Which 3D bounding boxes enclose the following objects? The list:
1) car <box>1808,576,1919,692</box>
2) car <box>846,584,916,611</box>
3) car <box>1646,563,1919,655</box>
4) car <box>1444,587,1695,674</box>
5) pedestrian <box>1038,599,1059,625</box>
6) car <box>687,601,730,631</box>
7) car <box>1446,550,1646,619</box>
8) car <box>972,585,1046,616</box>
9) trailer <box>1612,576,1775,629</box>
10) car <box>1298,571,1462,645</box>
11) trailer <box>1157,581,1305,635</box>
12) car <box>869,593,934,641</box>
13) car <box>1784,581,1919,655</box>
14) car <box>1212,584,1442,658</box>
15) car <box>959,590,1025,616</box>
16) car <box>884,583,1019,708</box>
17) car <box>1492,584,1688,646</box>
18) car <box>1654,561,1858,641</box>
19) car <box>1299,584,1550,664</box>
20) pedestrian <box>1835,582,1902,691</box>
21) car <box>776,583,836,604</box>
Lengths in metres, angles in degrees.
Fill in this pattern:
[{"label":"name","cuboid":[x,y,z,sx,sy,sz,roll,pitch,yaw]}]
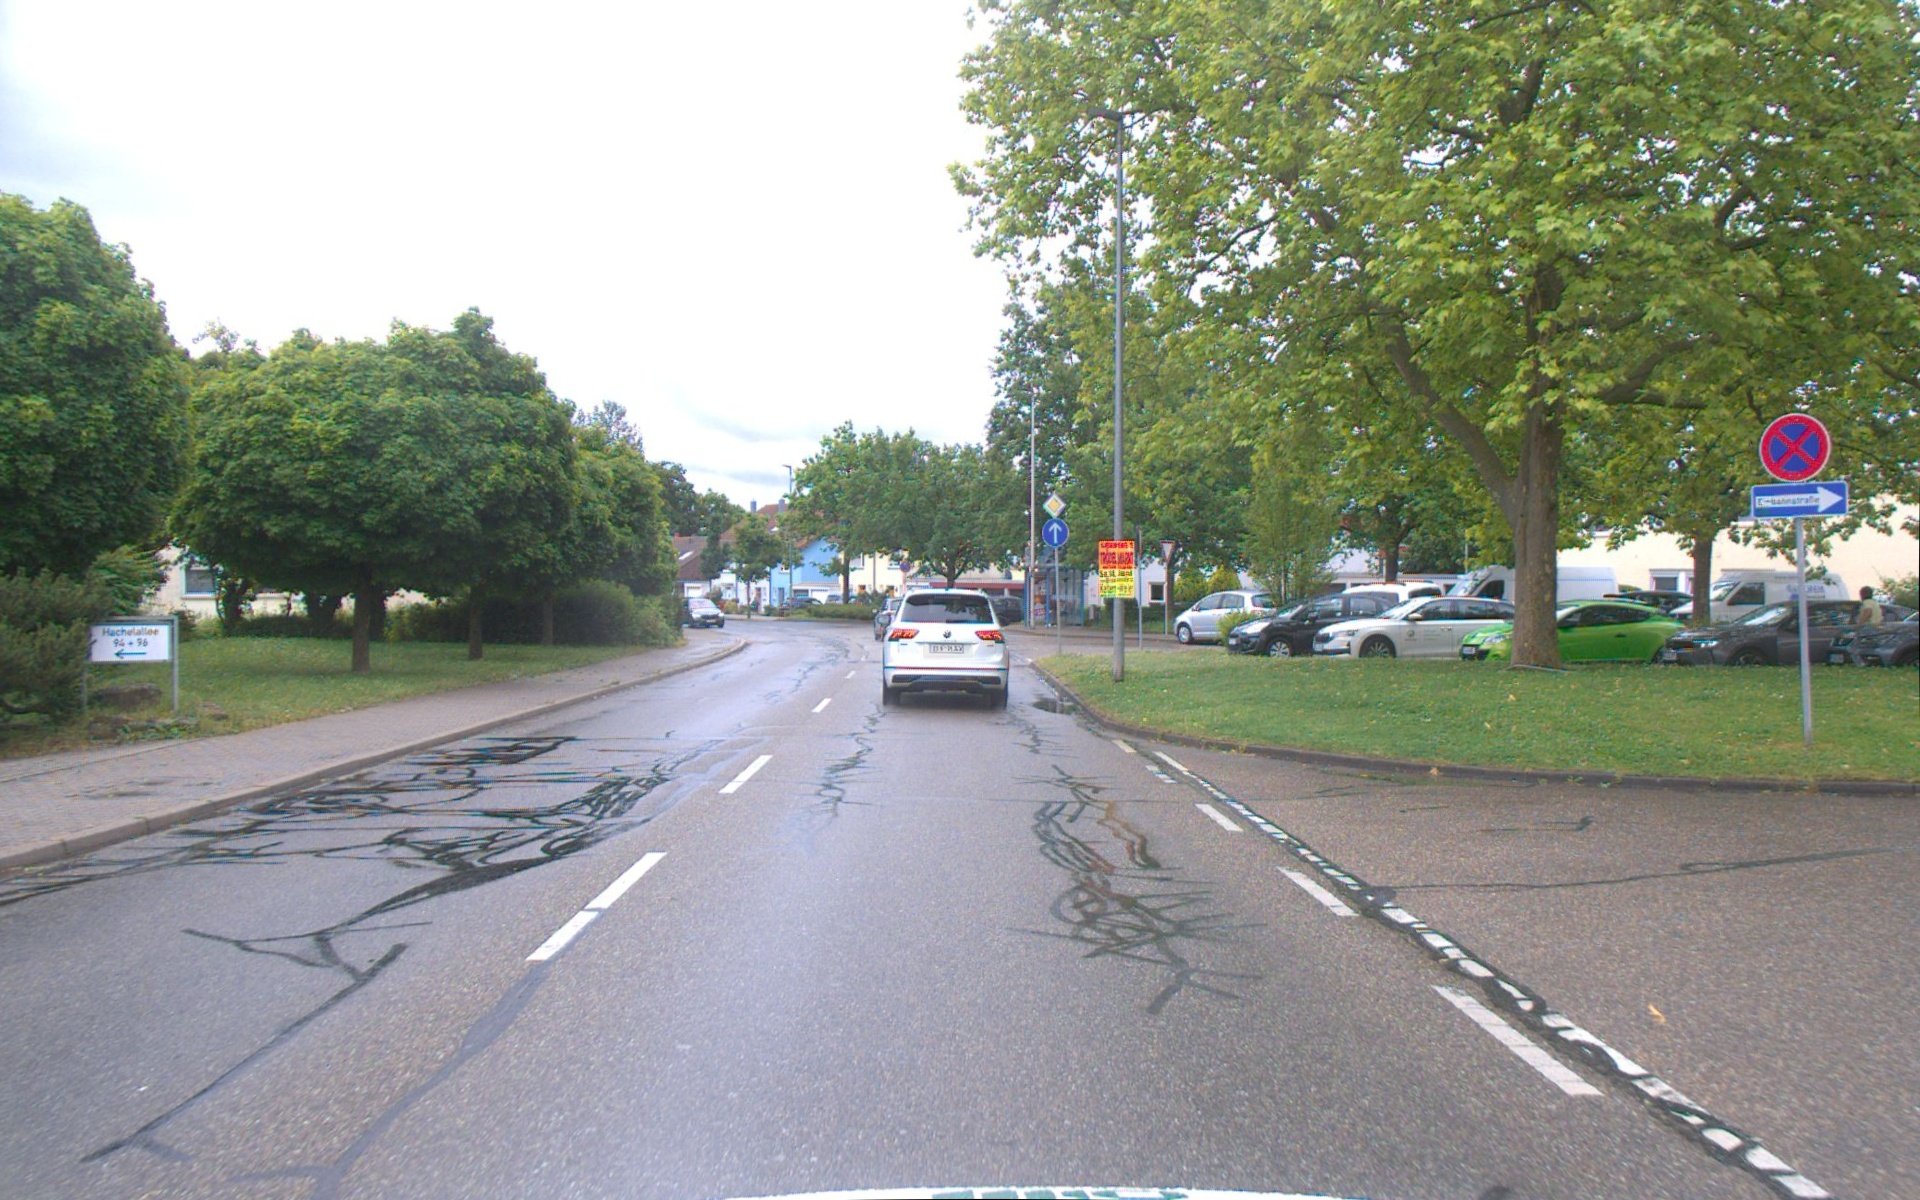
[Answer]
[{"label":"car","cuboid":[15.035,0.469,24.346,4.188,1.655,1.766,-1,0,9]},{"label":"car","cuboid":[-5.066,-0.174,106.008,4.145,1.701,1.967,0,1,-35]},{"label":"car","cuboid":[13.499,0.126,26.965,3.933,1.395,1.762,-1,1,-7]},{"label":"car","cuboid":[11.039,0.525,30.091,3.933,1.468,1.762,-1,1,-7]},{"label":"pedestrian","cuboid":[3.576,0.492,67.005,0.735,1.029,0.550,0,0,-10]},{"label":"car","cuboid":[-12.952,0.811,85.045,1.712,1.439,4.124,0,0,-16]},{"label":"car","cuboid":[18.332,-0.503,51.842,5.717,2.049,1.994,-1,0,-12]},{"label":"car","cuboid":[2.837,0.028,94.668,3.958,1.751,1.899,0,0,-38]},{"label":"trailer","cuboid":[20.919,0.058,47.239,3.905,1.462,1.712,0,0,-1]},{"label":"car","cuboid":[11.379,0.186,45.039,1.974,1.914,4.168,0,0,-31]},{"label":"trailer","cuboid":[8.136,0.212,50.031,1.977,1.570,4.372,-1,1,-35]},{"label":"car","cuboid":[-2.034,0.547,56.333,1.736,1.578,3.992,0,0,-9]},{"label":"car","cuboid":[23.514,0.436,42.542,3.817,1.805,1.821,-1,0,-8]},{"label":"car","cuboid":[7.786,0.419,35.287,4.485,1.468,1.762,-1,1,-7]},{"label":"car","cuboid":[1.875,0.149,97.265,3.665,1.467,1.684,0,0,-38]},{"label":"car","cuboid":[-0.132,0.597,24.610,1.827,1.679,4.000,-1,1,-1]},{"label":"car","cuboid":[14.977,0.322,39.477,1.746,1.407,4.134,0,1,-36]},{"label":"car","cuboid":[21.462,-0.003,44.676,4.661,2.049,1.997,-1,0,-8]},{"label":"car","cuboid":[9.165,0.441,32.799,4.485,1.468,1.762,-1,1,-7]},{"label":"pedestrian","cuboid":[14.156,0.564,25.778,0.723,1.680,0.587,0,0,2]},{"label":"car","cuboid":[-10.651,-0.454,114.593,3.962,1.411,1.651,-1,1,-40]}]
